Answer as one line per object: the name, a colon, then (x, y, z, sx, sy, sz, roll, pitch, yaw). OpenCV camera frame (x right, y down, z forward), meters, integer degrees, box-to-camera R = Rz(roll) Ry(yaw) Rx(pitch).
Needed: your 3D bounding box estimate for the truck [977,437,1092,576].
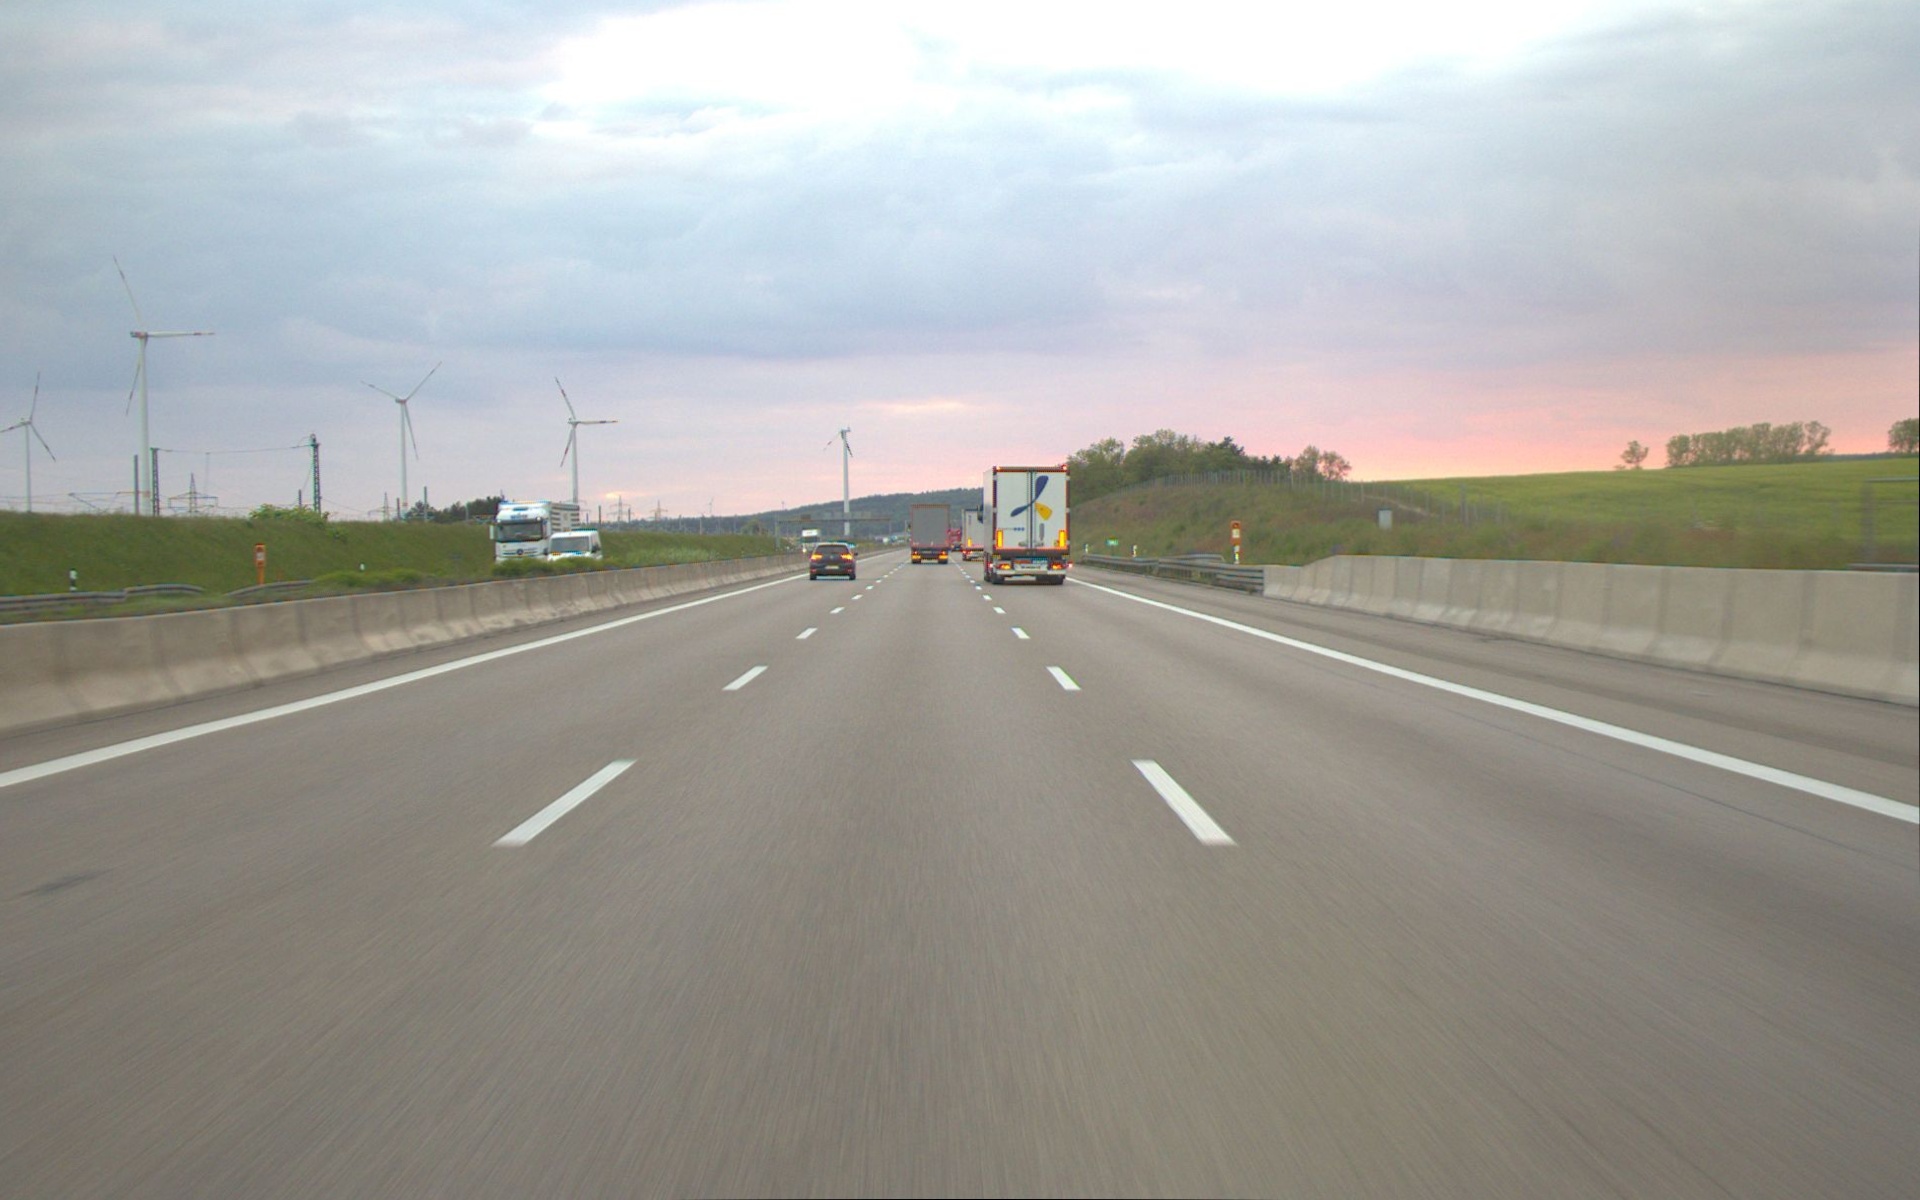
truck: (2.525, -3.255, 120.336, 3.675, 4.549, 10.982, -1, 1, 0)

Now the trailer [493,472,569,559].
trailer: (-21.291, -4.186, 170.920, 2.686, 4.100, 6.939, -3, 1, 0)

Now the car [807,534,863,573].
car: (-4.815, -1.807, 133.013, 1.987, 1.425, 4.000, -1, 2, 0)

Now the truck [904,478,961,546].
truck: (-1.887, -5.926, 231.201, 3.647, 4.399, 8.636, -2, 1, -1)
